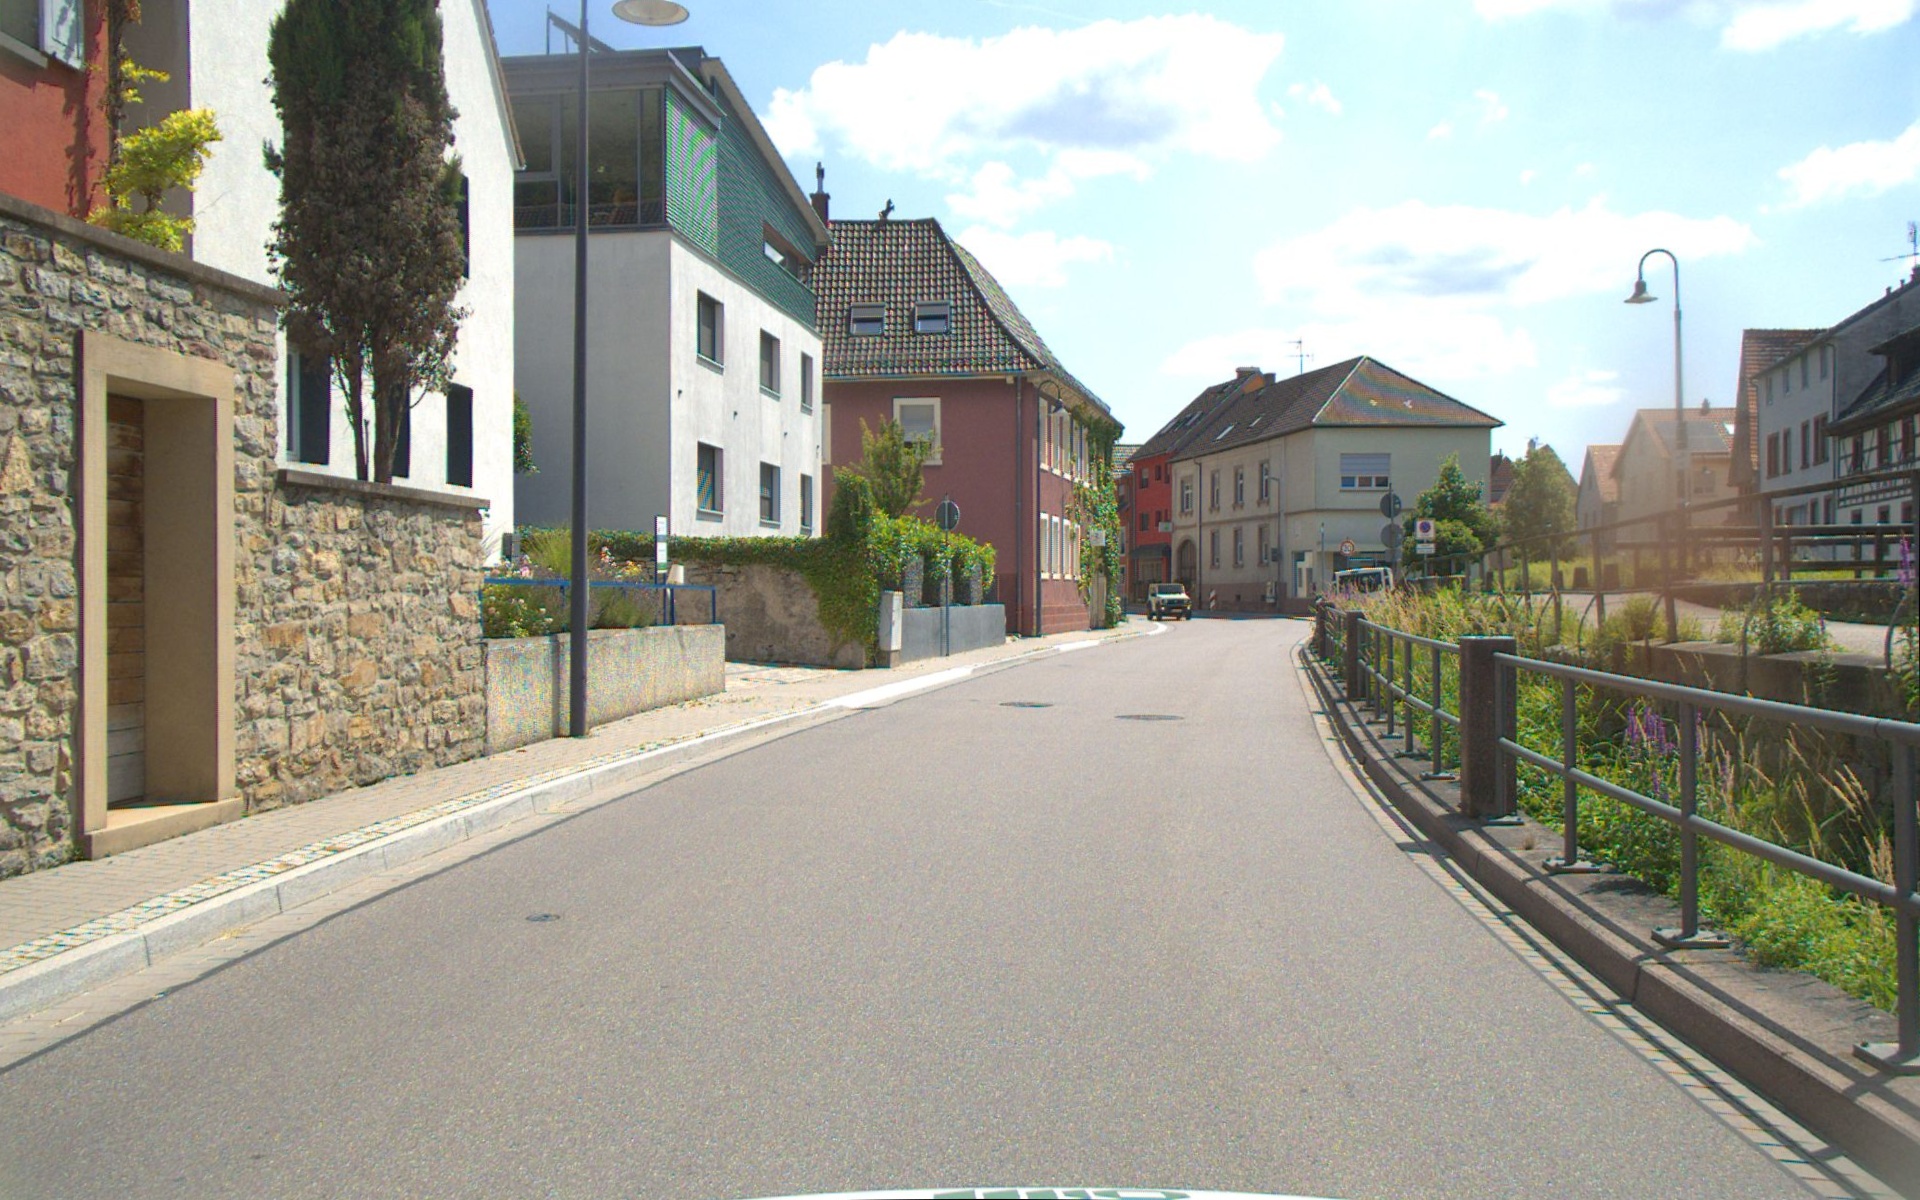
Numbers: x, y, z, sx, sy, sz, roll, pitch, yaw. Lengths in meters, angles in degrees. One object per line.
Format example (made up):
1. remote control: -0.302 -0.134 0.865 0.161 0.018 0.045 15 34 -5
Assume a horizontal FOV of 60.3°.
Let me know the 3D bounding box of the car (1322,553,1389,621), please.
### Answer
1. car: 12.699 -0.424 53.005 1.857 2.015 3.116 -2 0 16

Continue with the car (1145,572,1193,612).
1. car: 9.798 -0.376 77.658 1.589 1.749 3.471 -2 0 -3

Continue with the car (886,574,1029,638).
1. car: -0.049 0.151 44.196 3.490 1.430 1.653 4 1 13
